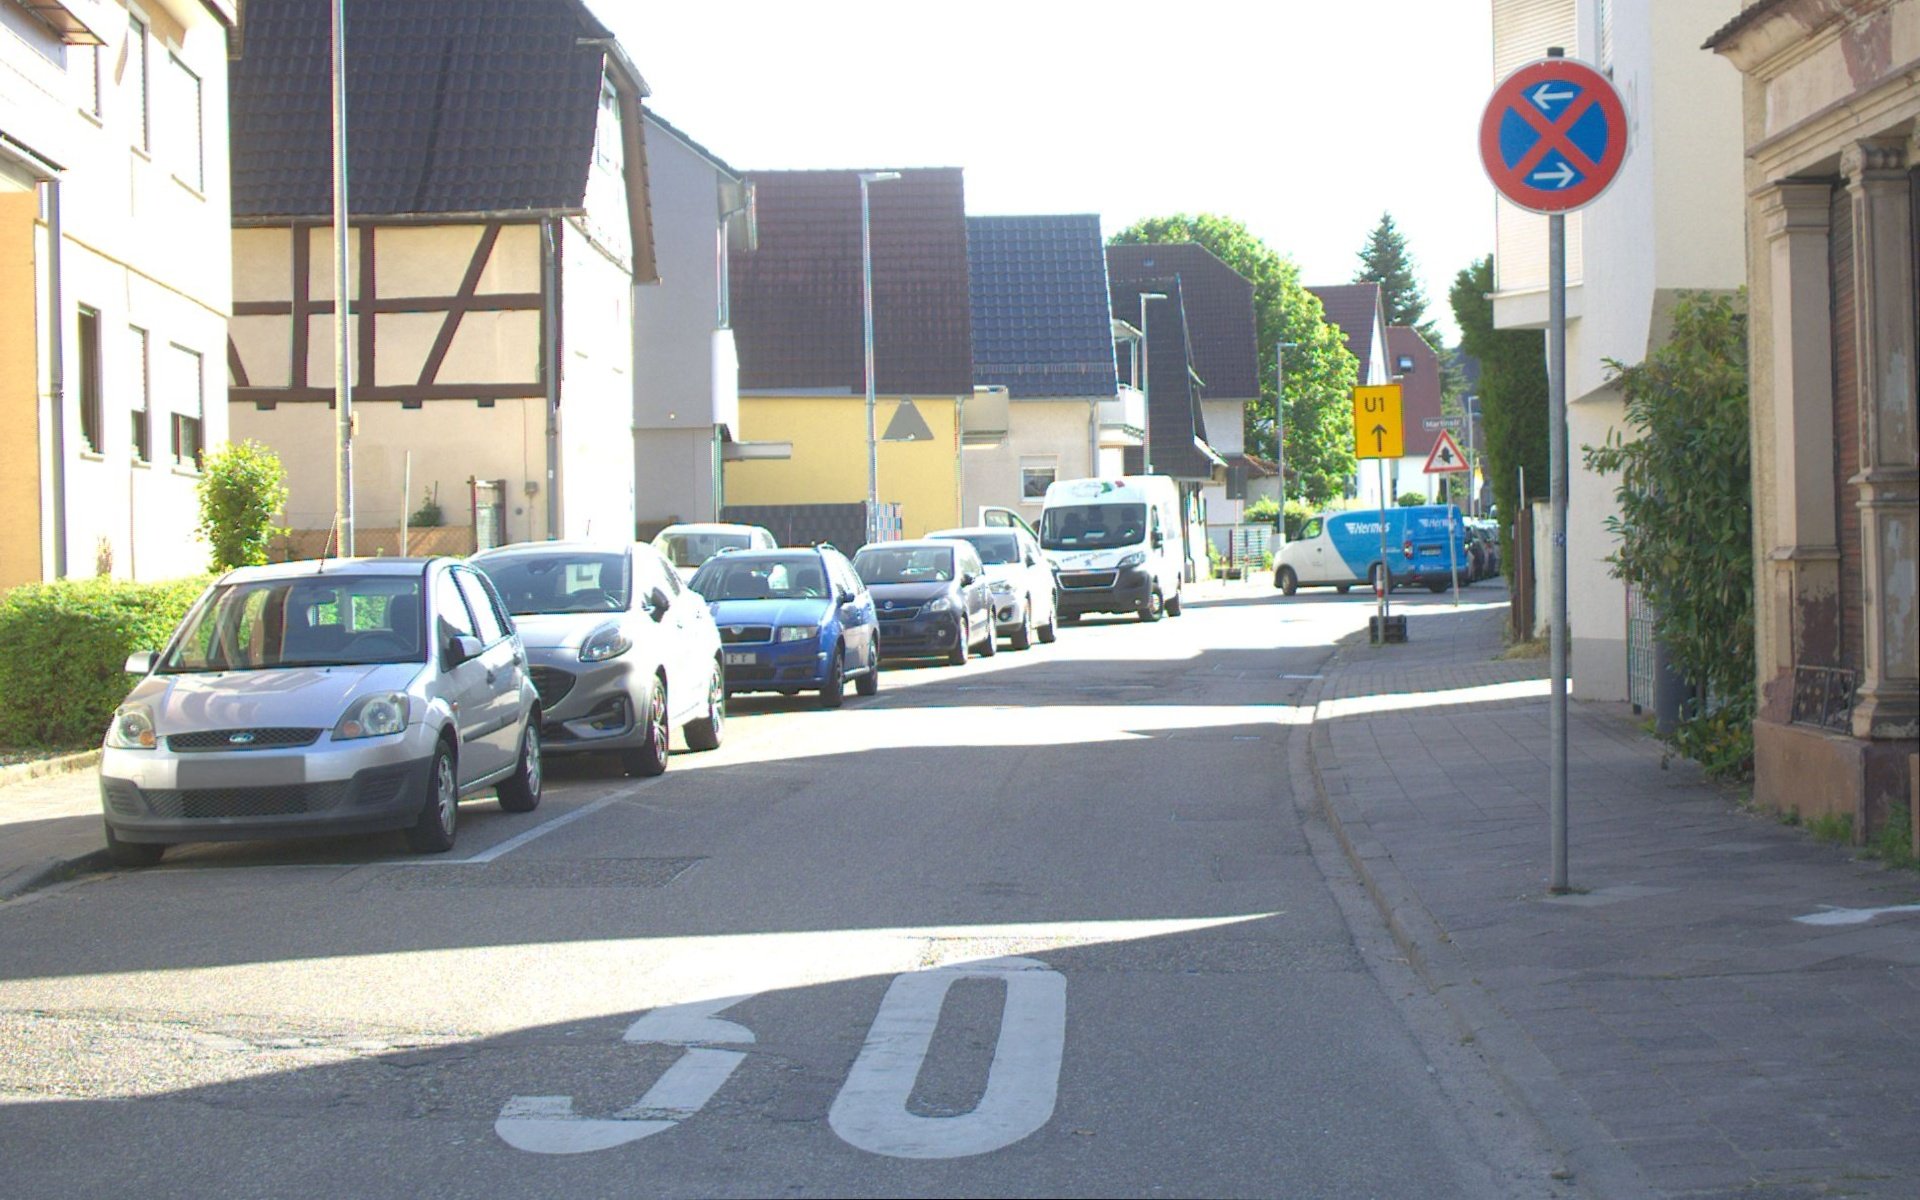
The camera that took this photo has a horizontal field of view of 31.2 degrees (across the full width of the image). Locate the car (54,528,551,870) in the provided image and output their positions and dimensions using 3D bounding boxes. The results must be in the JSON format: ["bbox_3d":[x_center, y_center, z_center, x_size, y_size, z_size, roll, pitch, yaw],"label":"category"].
[{"bbox_3d":[-3.294,0.425,17.937,1.631,1.500,3.853,-2,2,3],"label":"car"}]

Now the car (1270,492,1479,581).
[{"bbox_3d":[9.115,-1.382,75.954,1.921,1.795,4.780,-4,2,-32],"label":"car"}]

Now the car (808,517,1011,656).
[{"bbox_3d":[-0.553,-0.197,41.468,1.704,1.513,4.120,-3,1,9],"label":"car"}]

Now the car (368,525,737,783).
[{"bbox_3d":[-2.631,0.289,23.090,1.674,1.500,4.094,-2,1,4],"label":"car"}]

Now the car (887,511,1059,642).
[{"bbox_3d":[0.223,-0.347,45.658,1.674,1.566,3.965,-3,1,8],"label":"car"}]

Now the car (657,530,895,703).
[{"bbox_3d":[-1.637,0.108,31.913,1.639,1.436,4.074,-2,1,4],"label":"car"}]

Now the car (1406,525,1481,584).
[{"bbox_3d":[12.397,-1.151,88.306,1.845,1.408,3.999,1,0,7],"label":"car"}]

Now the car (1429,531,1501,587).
[{"bbox_3d":[13.749,-1.105,93.760,1.845,1.408,3.999,1,0,7],"label":"car"}]

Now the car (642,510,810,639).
[{"bbox_3d":[-3.069,-0.379,45.769,1.722,1.590,4.016,1,2,3],"label":"car"}]

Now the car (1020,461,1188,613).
[{"bbox_3d":[2.510,-1.093,58.625,2.078,2.386,5.206,-3,1,10],"label":"car"}]
